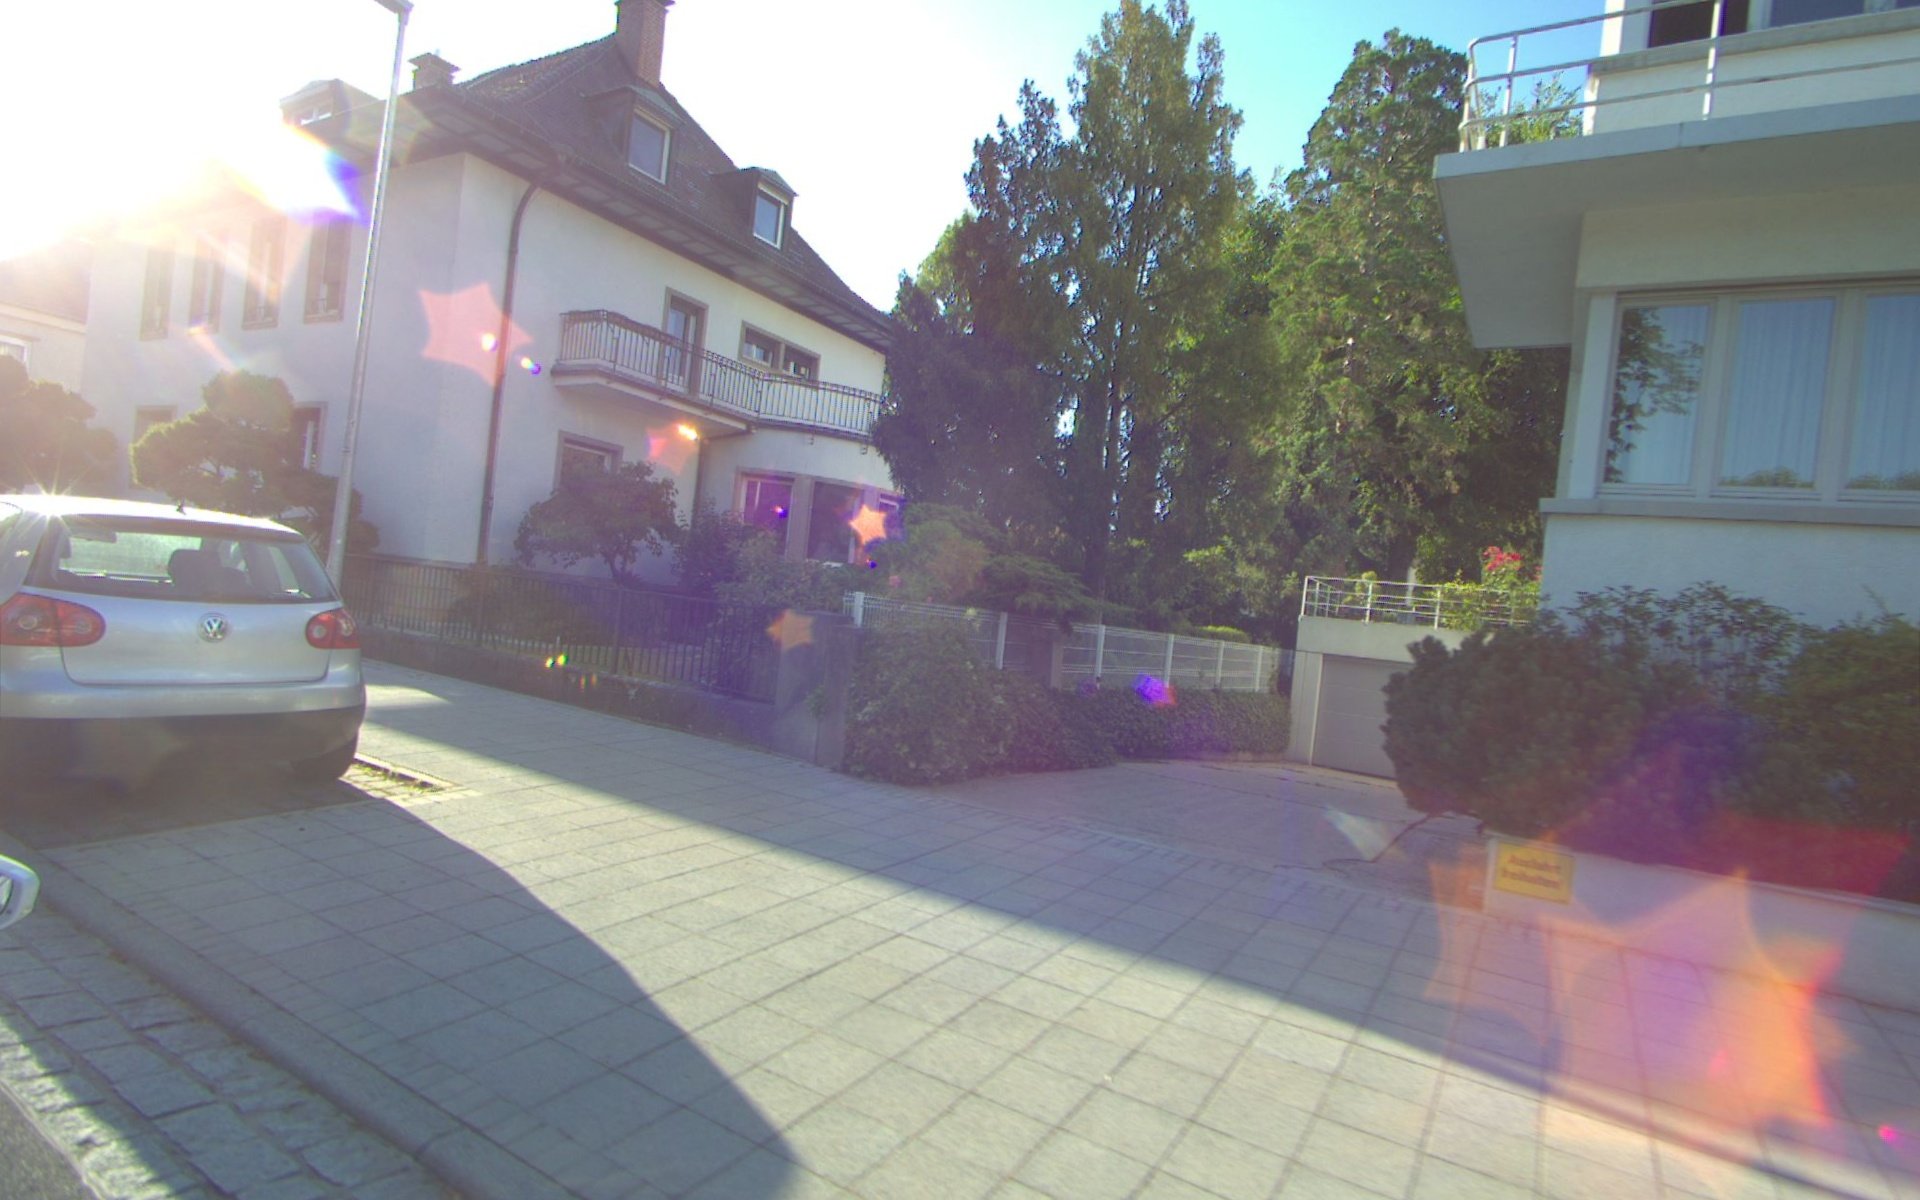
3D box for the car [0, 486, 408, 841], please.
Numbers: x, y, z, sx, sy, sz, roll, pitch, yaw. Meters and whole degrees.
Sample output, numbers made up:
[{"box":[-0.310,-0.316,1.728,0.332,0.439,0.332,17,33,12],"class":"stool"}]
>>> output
[{"box":[-5.113,0.129,5.953,3.862,1.494,1.742,6,3,36],"class":"car"}]
